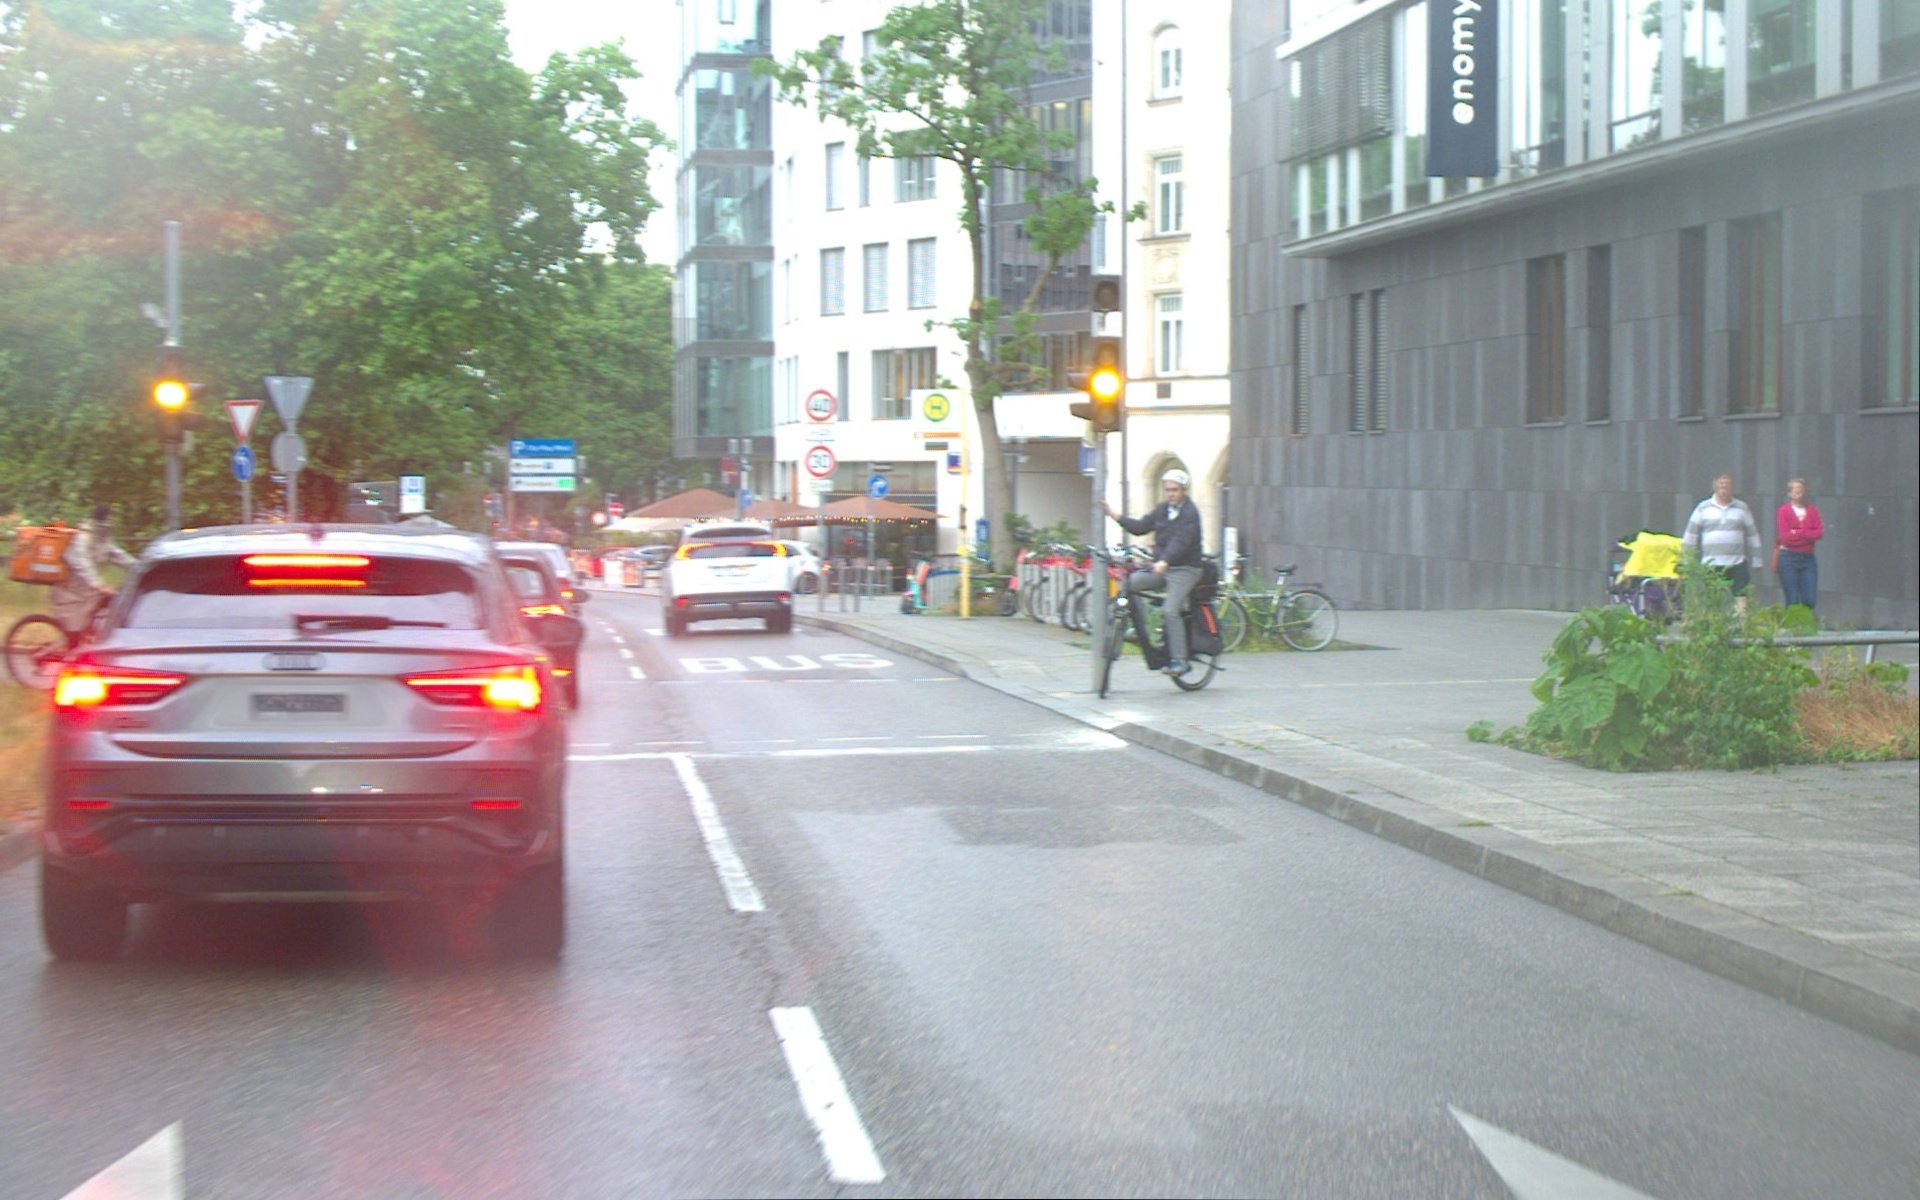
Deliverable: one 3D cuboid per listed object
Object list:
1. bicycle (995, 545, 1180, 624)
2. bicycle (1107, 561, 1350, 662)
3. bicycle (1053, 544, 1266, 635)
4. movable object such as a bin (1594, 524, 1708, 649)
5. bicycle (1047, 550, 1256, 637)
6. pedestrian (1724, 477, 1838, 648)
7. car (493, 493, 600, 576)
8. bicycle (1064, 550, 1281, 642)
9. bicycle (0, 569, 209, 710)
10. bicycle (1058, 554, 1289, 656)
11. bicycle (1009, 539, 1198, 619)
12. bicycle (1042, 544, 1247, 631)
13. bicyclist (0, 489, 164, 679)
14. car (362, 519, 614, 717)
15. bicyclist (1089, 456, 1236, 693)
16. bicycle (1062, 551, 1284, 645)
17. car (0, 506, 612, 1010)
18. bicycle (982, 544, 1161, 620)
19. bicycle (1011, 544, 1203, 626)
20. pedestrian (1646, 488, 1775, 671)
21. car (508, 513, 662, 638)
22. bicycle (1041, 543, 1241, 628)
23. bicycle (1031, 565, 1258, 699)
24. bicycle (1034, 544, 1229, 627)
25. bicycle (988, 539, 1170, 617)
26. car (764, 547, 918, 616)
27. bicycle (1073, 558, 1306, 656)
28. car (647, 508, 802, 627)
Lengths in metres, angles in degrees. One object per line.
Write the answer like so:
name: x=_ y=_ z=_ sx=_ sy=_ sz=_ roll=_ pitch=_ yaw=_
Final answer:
bicycle: x=1.811 y=-0.225 z=48.795 sx=2.535 sy=1.083 sz=0.677 roll=-1 pitch=1 yaw=-8
bicycle: x=2.902 y=0.117 z=37.237 sx=2.535 sy=1.053 sz=0.678 roll=0 pitch=1 yaw=-8
bicycle: x=2.453 y=-0.139 z=42.390 sx=2.535 sy=1.083 sz=0.677 roll=-1 pitch=1 yaw=-8
movable object such as a bin: x=7.260 y=-0.159 z=36.178 sx=0.731 sy=1.259 sz=1.445 roll=-2 pitch=1 yaw=-6
bicycle: x=2.402 y=-0.092 z=43.255 sx=2.535 sy=1.056 sz=0.677 roll=-1 pitch=1 yaw=-8
pedestrian: x=8.365 y=-0.387 z=35.067 sx=0.717 sy=1.684 sz=1.100 roll=-2 pitch=1 yaw=-9
car: x=-8.564 y=-1.357 z=70.904 sx=1.944 sy=1.641 sz=4.001 roll=0 pitch=1 yaw=-10
bicycle: x=2.564 y=-0.053 z=41.585 sx=2.535 sy=1.083 sz=0.677 roll=-1 pitch=1 yaw=-8
bicycle: x=-7.718 y=0.328 z=29.865 sx=2.062 sy=1.110 sz=1.011 roll=3 pitch=1 yaw=16
bicycle: x=2.446 y=0.052 z=39.496 sx=2.535 sy=1.083 sz=0.678 roll=2 pitch=1 yaw=-8
bicycle: x=1.994 y=-0.299 z=47.914 sx=2.535 sy=1.083 sz=0.677 roll=-1 pitch=1 yaw=-8
bicycle: x=2.370 y=-0.163 z=44.163 sx=2.535 sy=1.083 sz=0.677 roll=-1 pitch=1 yaw=-8
bicyclist: x=-7.711 y=-0.144 z=29.880 sx=1.133 sy=1.577 sz=1.014 roll=3 pitch=0 yaw=15
car: x=-4.374 y=0.113 z=32.097 sx=2.161 sy=1.700 sz=4.555 roll=0 pitch=1 yaw=-7
bicyclist: x=1.812 y=-0.233 z=30.741 sx=1.082 sy=2.076 sz=0.762 roll=-1 pitch=1 yaw=-44
bicycle: x=2.522 y=-0.030 z=40.726 sx=2.535 sy=1.083 sz=0.678 roll=-1 pitch=1 yaw=-8
car: x=-2.361 y=0.460 z=13.287 sx=1.847 sy=1.610 sz=4.253 roll=1 pitch=2 yaw=-4
bicycle: x=1.630 y=-0.268 z=50.257 sx=2.535 sy=1.083 sz=0.627 roll=-1 pitch=1 yaw=-8
bicycle: x=2.010 y=-0.211 z=47.162 sx=2.535 sy=1.083 sz=0.677 roll=-1 pitch=1 yaw=-8
pedestrian: x=7.597 y=-0.214 z=34.827 sx=0.899 sy=1.786 sz=1.047 roll=-2 pitch=1 yaw=-9
car: x=-5.129 y=-0.367 z=47.453 sx=1.945 sy=1.641 sz=4.246 roll=0 pitch=1 yaw=-4
bicycle: x=2.382 y=-0.198 z=45.362 sx=2.535 sy=1.083 sz=0.677 roll=-1 pitch=1 yaw=-8
bicycle: x=1.660 y=0.266 z=30.597 sx=2.127 sy=1.141 sz=0.762 roll=-1 pitch=1 yaw=-44
bicycle: x=2.305 y=-0.196 z=46.338 sx=2.535 sy=1.083 sz=0.677 roll=-1 pitch=1 yaw=-8
bicycle: x=1.714 y=-0.325 z=49.537 sx=2.535 sy=1.083 sz=0.677 roll=-1 pitch=1 yaw=-8
car: x=-3.387 y=-0.528 z=97.367 sx=3.986 sy=1.641 sz=2.001 roll=4 pitch=1 yaw=-11
bicycle: x=2.576 y=0.072 z=38.698 sx=2.535 sy=1.083 sz=0.678 roll=0 pitch=1 yaw=-8
car: x=-3.560 y=-0.508 z=51.419 sx=2.178 sy=1.695 sz=4.001 roll=0 pitch=1 yaw=-6
